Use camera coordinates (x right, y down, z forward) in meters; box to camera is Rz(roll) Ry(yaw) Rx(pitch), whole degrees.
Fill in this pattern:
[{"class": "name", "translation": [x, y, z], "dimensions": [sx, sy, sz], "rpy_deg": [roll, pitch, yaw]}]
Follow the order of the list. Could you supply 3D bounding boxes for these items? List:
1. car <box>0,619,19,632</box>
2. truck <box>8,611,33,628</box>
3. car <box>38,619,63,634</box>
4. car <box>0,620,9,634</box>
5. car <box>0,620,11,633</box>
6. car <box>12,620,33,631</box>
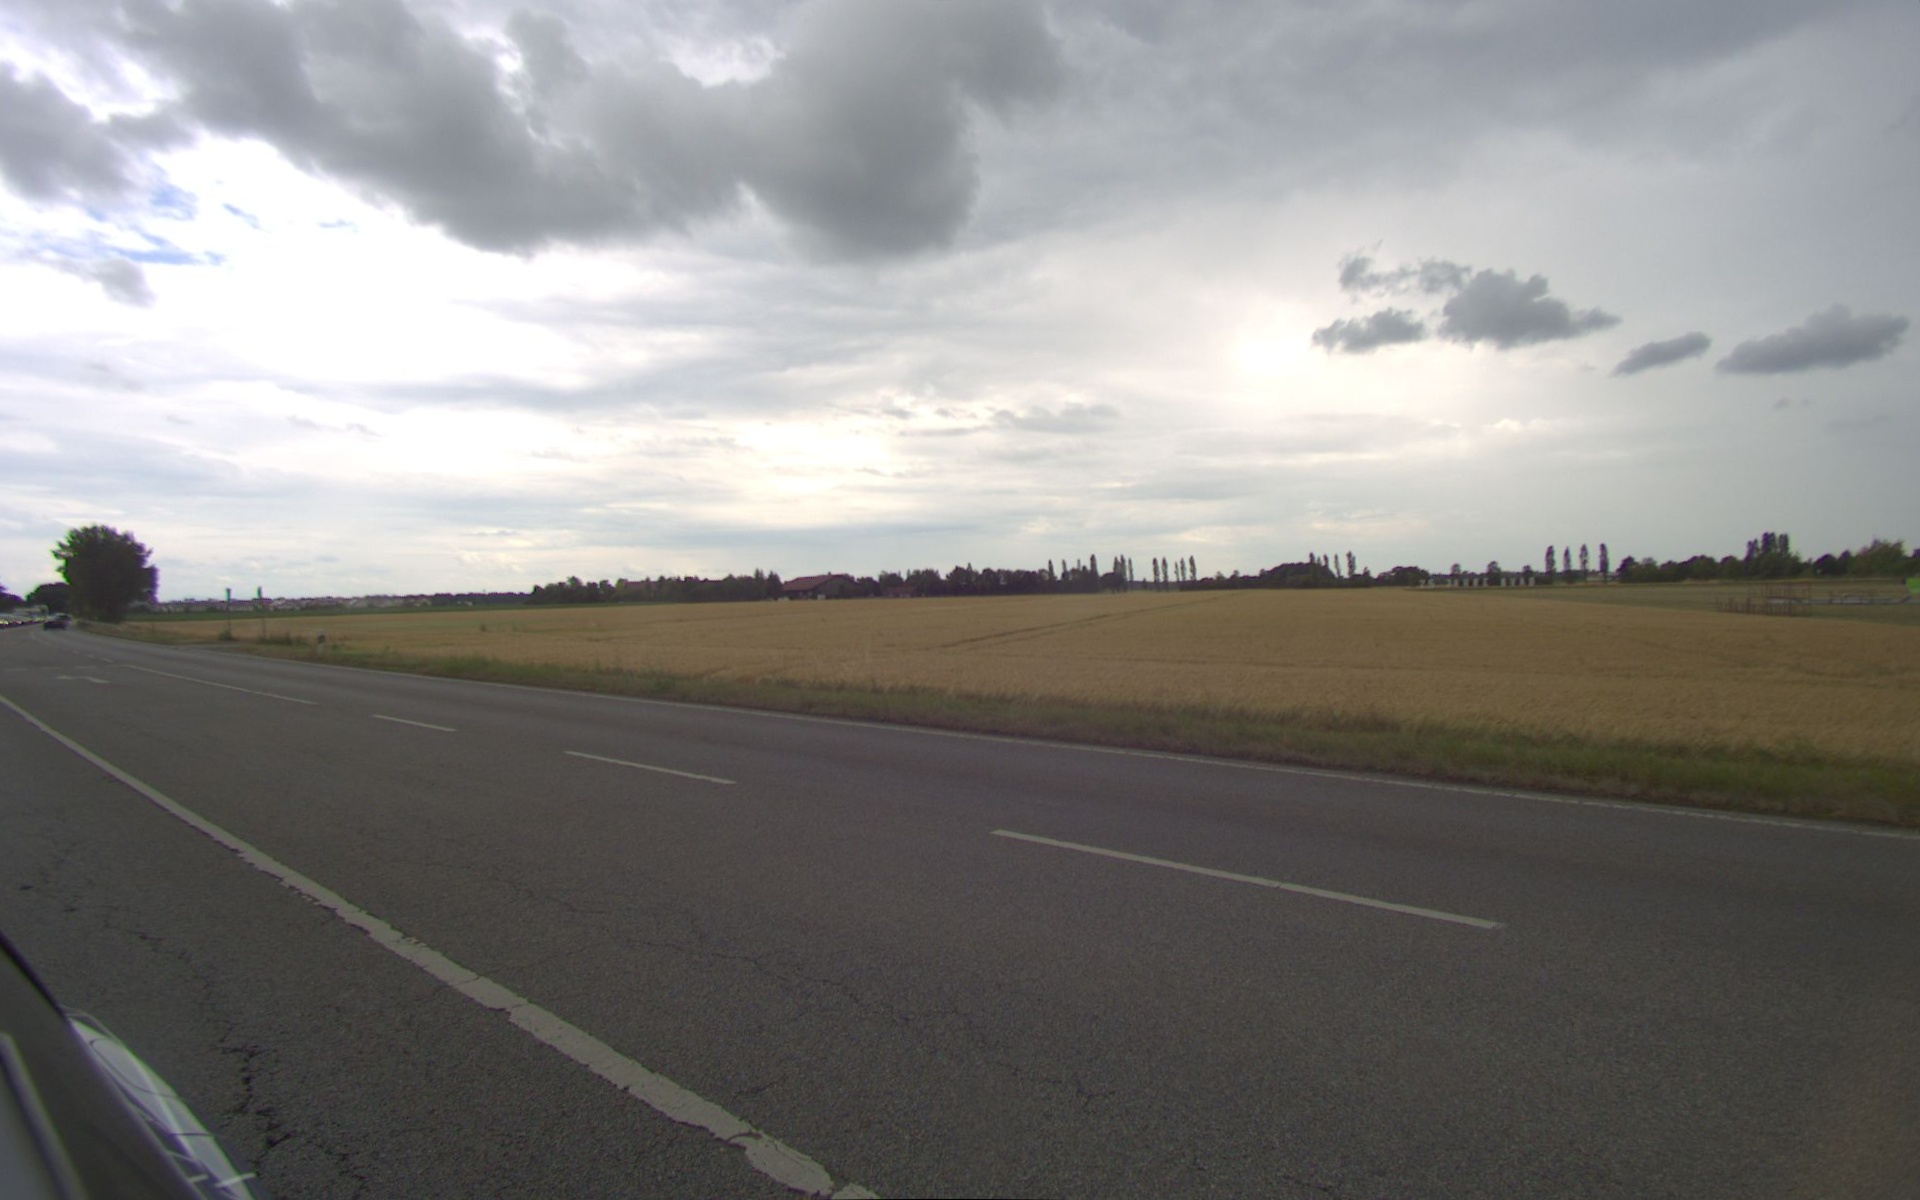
[{"class": "car", "translation": [-123.634, 3.302, 131.354], "dimensions": [1.766, 1.595, 4.145], "rpy_deg": [0, -1, -37]}, {"class": "truck", "translation": [-153.740, 3.164, 165.699], "dimensions": [2.284, 2.786, 7.689], "rpy_deg": [-1, 0, -37]}, {"class": "car", "translation": [-94.927, 2.756, 105.668], "dimensions": [1.804, 1.421, 4.431], "rpy_deg": [-3, 1, -40]}, {"class": "car", "translation": [-112.802, 3.130, 118.554], "dimensions": [1.766, 1.595, 4.144], "rpy_deg": [0, -1, -39]}, {"class": "car", "translation": [-118.017, 3.269, 124.099], "dimensions": [1.924, 1.595, 4.146], "rpy_deg": [0, -1, -37]}, {"class": "car", "translation": [-136.808, 3.748, 147.652], "dimensions": [1.766, 1.551, 4.146], "rpy_deg": [0, -1, -37]}]
